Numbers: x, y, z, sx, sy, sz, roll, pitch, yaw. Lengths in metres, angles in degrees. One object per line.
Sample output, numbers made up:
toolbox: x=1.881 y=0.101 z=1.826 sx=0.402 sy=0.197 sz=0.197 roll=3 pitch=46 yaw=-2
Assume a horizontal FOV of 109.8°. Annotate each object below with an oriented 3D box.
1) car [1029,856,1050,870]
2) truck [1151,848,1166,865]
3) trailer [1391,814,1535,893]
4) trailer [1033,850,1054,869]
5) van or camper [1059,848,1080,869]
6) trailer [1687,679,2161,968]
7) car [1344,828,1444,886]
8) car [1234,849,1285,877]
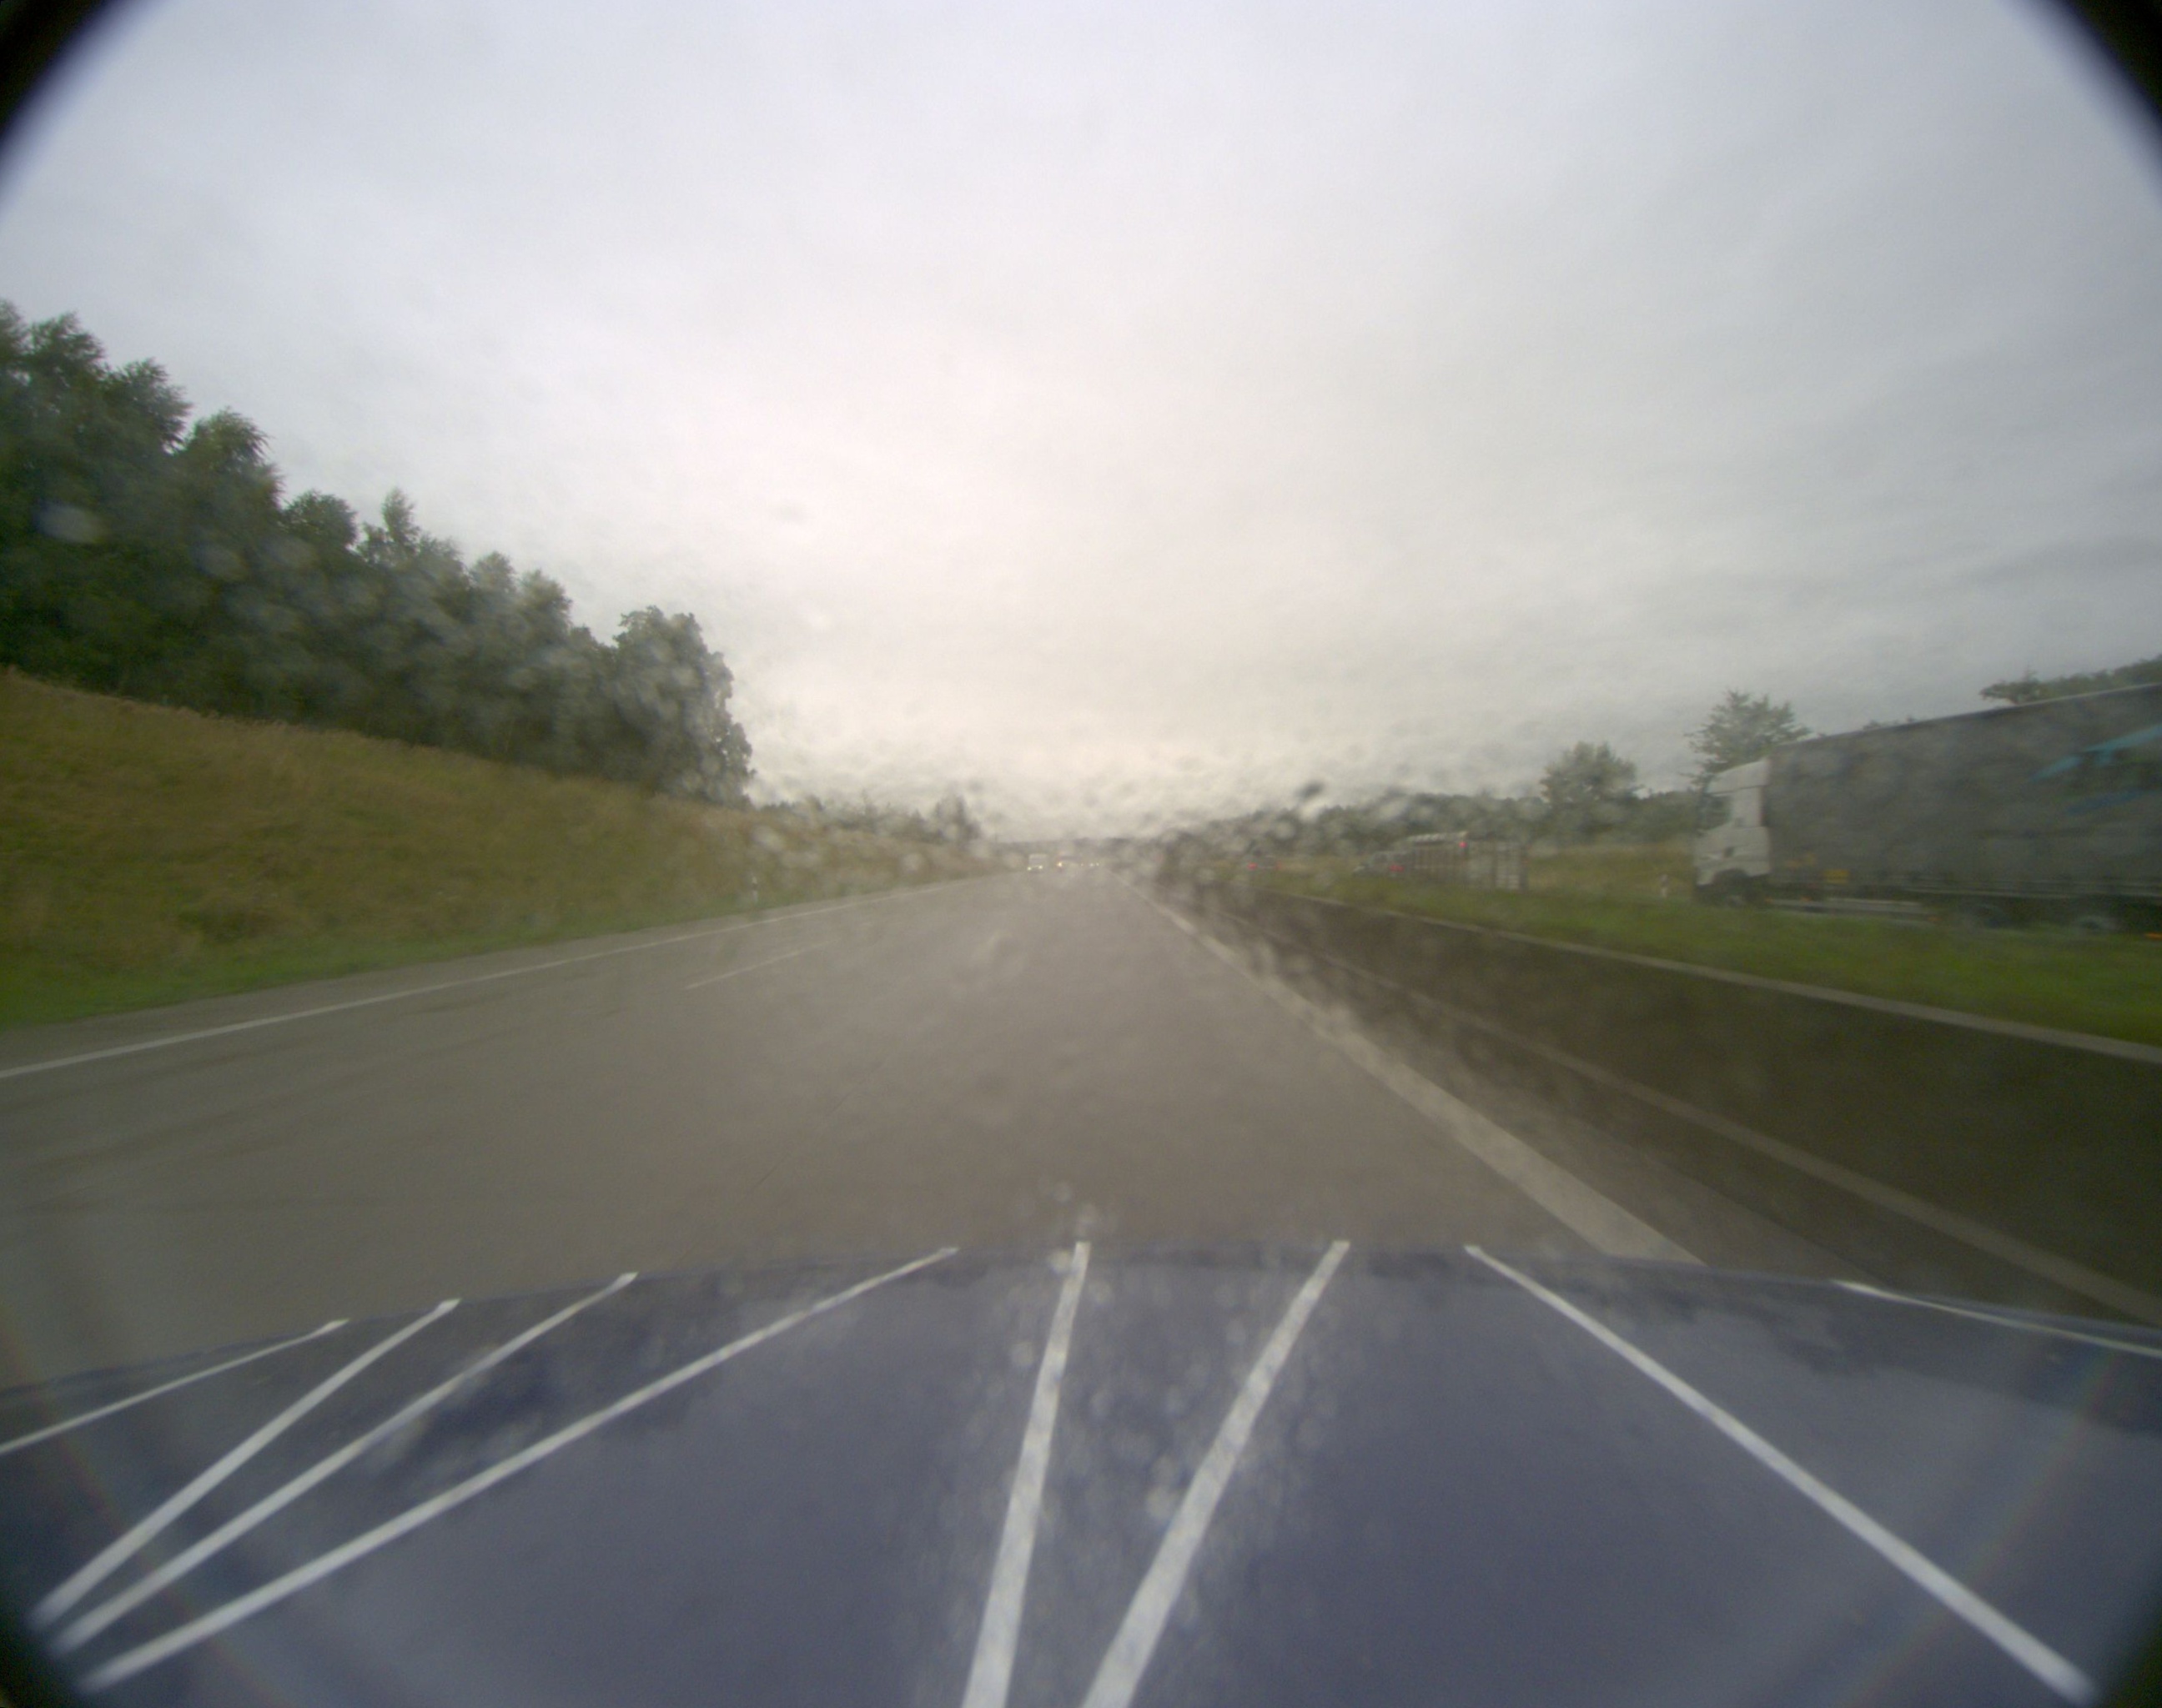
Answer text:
car: x=-5.191 y=1.125 z=95.628 sx=1.998 sy=1.576 sz=5.953 roll=-2 pitch=0 yaw=2
truck: x=20.158 y=0.582 z=197.562 sx=2.761 sy=4.183 sz=13.101 roll=0 pitch=1 yaw=1
trailer: x=12.763 y=-0.015 z=25.937 sx=2.043 sy=2.359 sz=5.834 roll=0 pitch=0 yaw=0
trailer: x=-4.981 y=0.678 z=101.603 sx=2.348 sy=2.445 sz=5.939 roll=0 pitch=1 yaw=2
van or camper: x=-1.389 y=0.538 z=96.613 sx=2.233 sy=2.537 sz=7.950 roll=-1 pitch=0 yaw=2
trailer: x=16.361 y=-0.382 z=13.678 sx=2.593 sy=4.023 sz=10.374 roll=1 pitch=0 yaw=0
car: x=12.781 y=0.097 z=31.453 sx=1.998 sy=2.168 sz=5.207 roll=-1 pitch=0 yaw=0
car: x=9.643 y=0.458 z=41.471 sx=1.759 sy=1.460 sz=4.448 roll=-1 pitch=0 yaw=0
